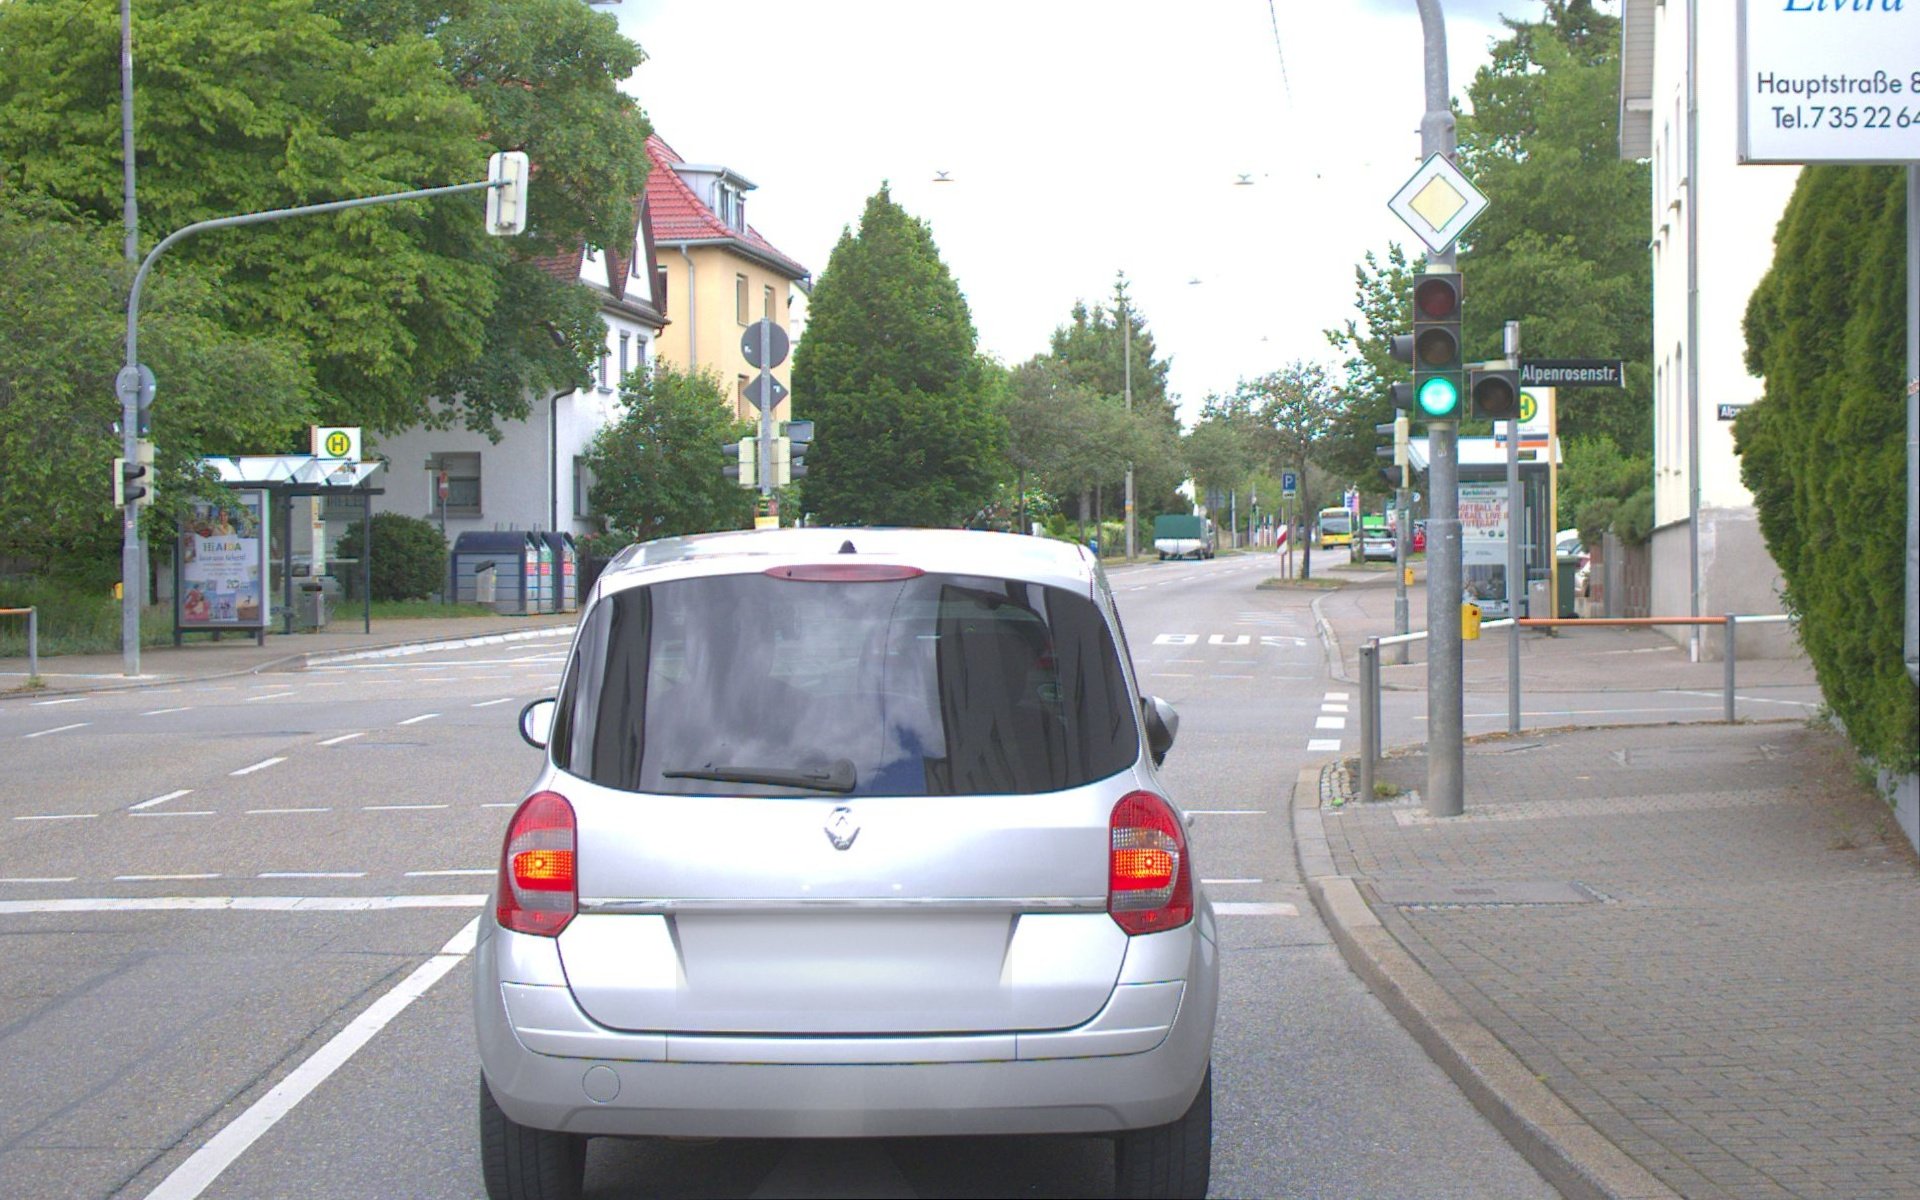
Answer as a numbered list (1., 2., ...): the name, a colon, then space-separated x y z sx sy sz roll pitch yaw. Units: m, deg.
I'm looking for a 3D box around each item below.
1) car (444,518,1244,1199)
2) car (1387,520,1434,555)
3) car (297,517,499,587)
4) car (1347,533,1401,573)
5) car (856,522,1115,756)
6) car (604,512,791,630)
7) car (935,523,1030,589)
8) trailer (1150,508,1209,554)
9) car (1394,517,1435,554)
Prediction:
1. car: -0.192 0.607 9.089 1.630 1.551 4.000 1 0 1
2. car: 18.496 -2.582 141.121 1.663 1.388 3.666 0 1 12
3. car: -12.269 -1.030 75.133 3.988 1.327 1.722 -2 0 8
4. car: 14.717 -1.664 122.081 1.651 1.378 3.998 0 0 10
5. car: 0.261 0.256 26.479 1.829 1.670 3.574 -1 1 3
6. car: -3.903 -0.421 51.902 1.759 1.629 4.593 -2 0 9
7. car: 0.535 -0.963 76.772 1.564 1.415 4.129 -1 0 8
8. trailer: 10.456 -3.248 163.308 2.313 2.079 5.871 1 0 8
9. car: 19.193 -2.732 145.328 1.663 1.559 4.097 0 1 7
